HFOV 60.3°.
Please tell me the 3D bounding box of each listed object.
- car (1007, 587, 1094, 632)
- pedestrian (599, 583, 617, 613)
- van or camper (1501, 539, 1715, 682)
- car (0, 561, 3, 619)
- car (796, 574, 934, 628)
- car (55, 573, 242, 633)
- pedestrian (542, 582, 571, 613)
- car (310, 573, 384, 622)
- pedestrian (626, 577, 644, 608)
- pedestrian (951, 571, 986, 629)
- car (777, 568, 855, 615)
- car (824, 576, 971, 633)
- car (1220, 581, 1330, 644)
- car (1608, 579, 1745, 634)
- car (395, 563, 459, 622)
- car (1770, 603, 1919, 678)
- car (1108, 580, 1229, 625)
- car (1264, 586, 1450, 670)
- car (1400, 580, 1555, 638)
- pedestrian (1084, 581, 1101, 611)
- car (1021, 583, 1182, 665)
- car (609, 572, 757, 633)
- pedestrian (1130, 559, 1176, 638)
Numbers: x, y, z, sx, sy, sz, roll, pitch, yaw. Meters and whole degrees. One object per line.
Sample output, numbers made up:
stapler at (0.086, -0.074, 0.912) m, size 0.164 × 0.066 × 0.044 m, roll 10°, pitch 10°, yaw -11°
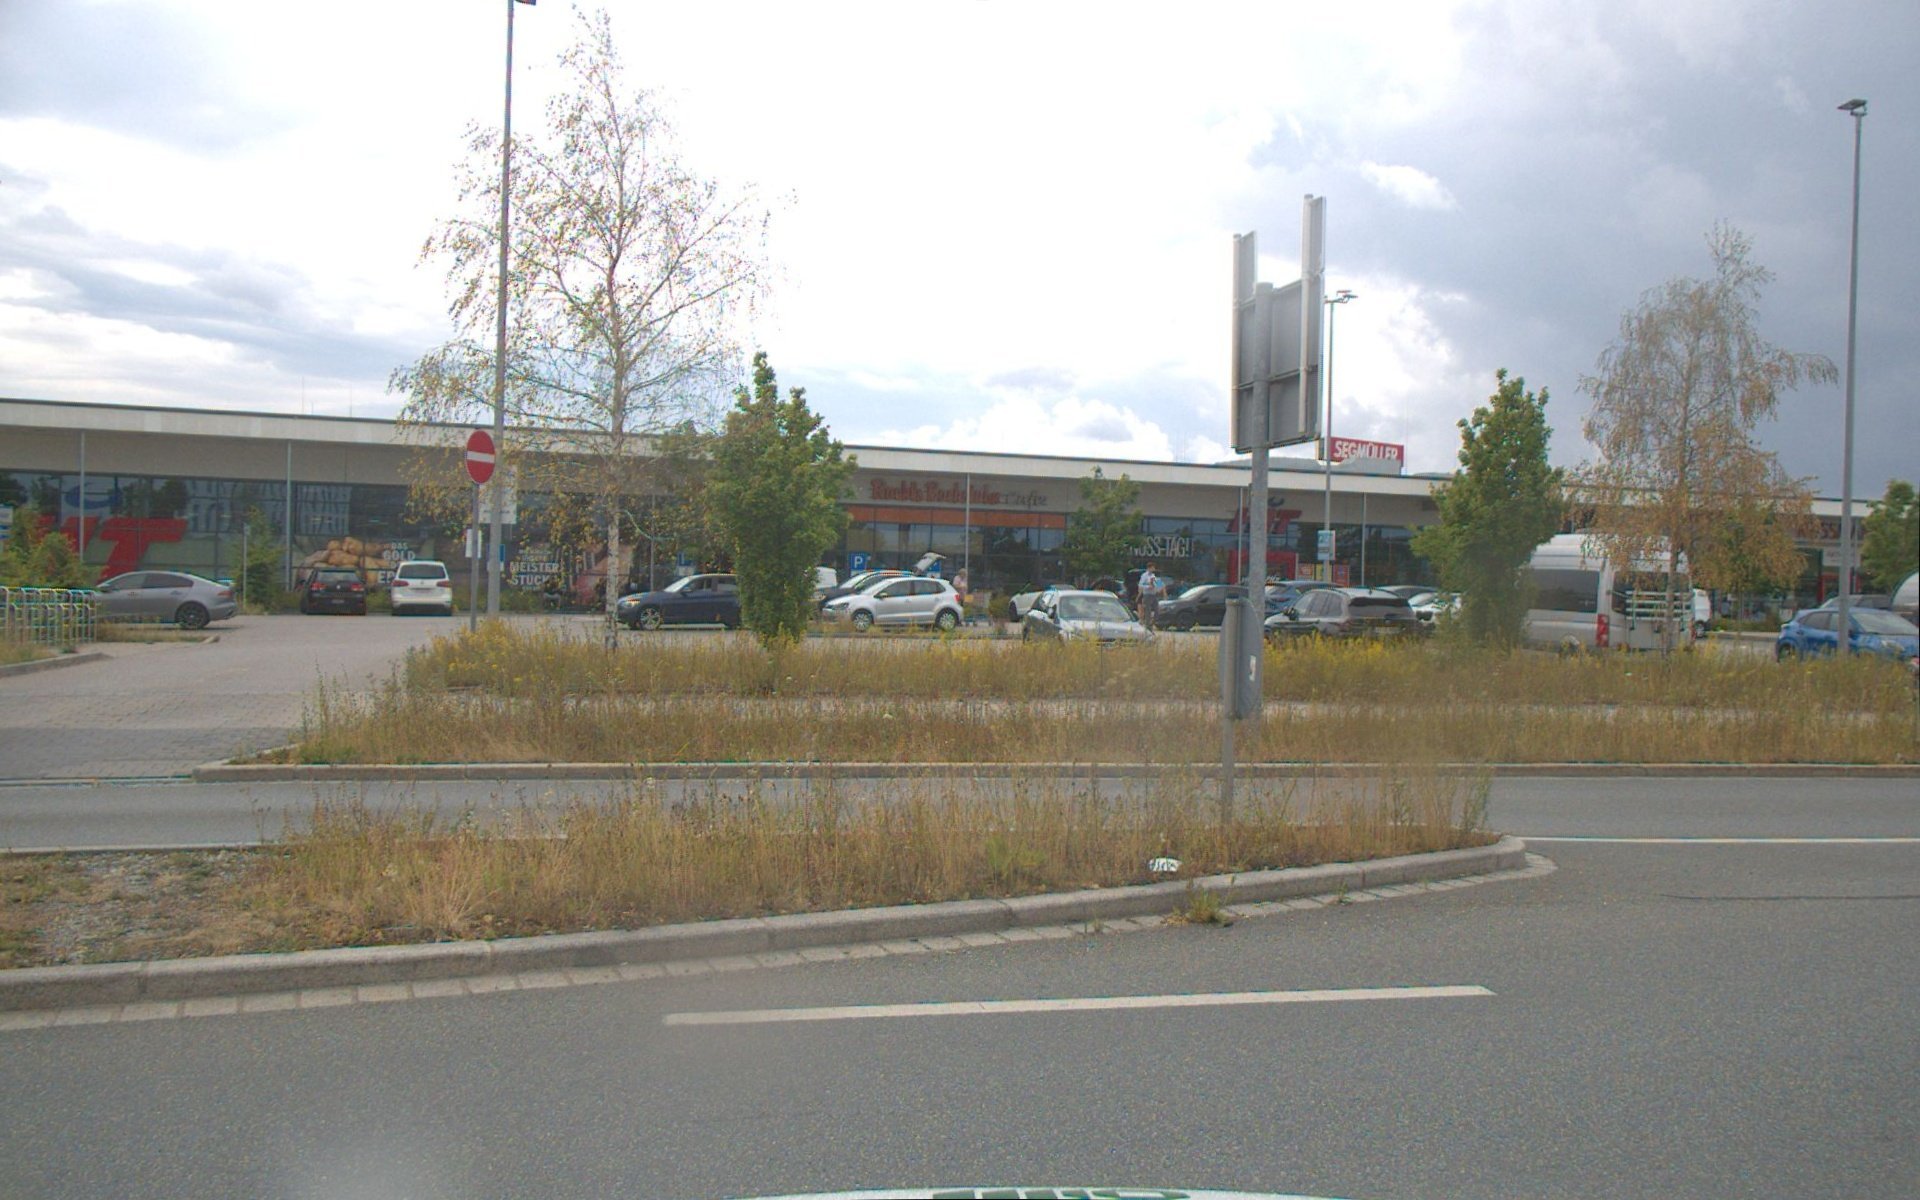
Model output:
car at (3.298, 0.322, 61.075) m, size 1.962 × 1.534 × 3.982 m, roll 1°, pitch 1°, yaw -17°
pedestrian at (-13.615, -0.078, 63.974) m, size 0.568 × 1.143 × 0.558 m, roll 1°, pitch 1°, yaw -23°
van or camper at (12.332, 0.184, 31.795) m, size 2.239 × 2.536 × 3.995 m, roll 1°, pitch 0°, yaw -6°
car at (-28.363, -0.323, 43.824) m, size 4.941 × 1.585 × 1.986 m, roll 1°, pitch 0°, yaw -24°
car at (-2.750, 0.017, 47.907) m, size 3.690 × 1.479 × 1.659 m, roll 1°, pitch 1°, yaw -19°
car at (-19.835, 0.071, 40.622) m, size 3.931 × 1.375 × 1.987 m, roll 1°, pitch 0°, yaw -22°
pedestrian at (-15.542, -0.097, 63.759) m, size 0.956 × 1.174 × 1.126 m, roll 1°, pitch 1°, yaw -21°
car at (-19.386, -0.098, 52.453) m, size 1.876 × 1.469 × 3.982 m, roll 1°, pitch 1°, yaw -16°
pedestrian at (-12.459, -0.293, 63.429) m, size 0.568 × 1.143 × 0.558 m, roll 1°, pitch 1°, yaw -23°
pedestrian at (0.241, 0.007, 48.518) m, size 0.807 × 1.660 × 0.896 m, roll 1°, pitch 0°, yaw -14°
car at (-5.100, -0.320, 58.003) m, size 1.962 × 1.534 × 3.982 m, roll 1°, pitch 1°, yaw -17°
car at (-1.701, 0.116, 45.144) m, size 3.690 × 1.479 × 1.659 m, roll 1°, pitch 1°, yaw -19°
car at (8.983, 0.331, 47.497) m, size 1.781 × 1.682 × 3.990 m, roll 1°, pitch 1°, yaw -10°
car at (25.531, 0.244, 58.951) m, size 4.351 × 1.850 × 1.987 m, roll 1°, pitch 0°, yaw -22°
car at (-17.091, -0.267, 53.200) m, size 1.794 × 1.729 × 4.216 m, roll 1°, pitch 2°, yaw -16°
car at (18.650, 0.797, 33.884) m, size 1.769 × 1.408 × 4.145 m, roll 1°, pitch 0°, yaw -6°
car at (7.586, 0.088, 60.320) m, size 3.925 × 1.534 × 1.990 m, roll 1°, pitch 1°, yaw -18°
car at (7.549, 0.500, 31.875) m, size 1.953 × 1.476 × 4.139 m, roll 1°, pitch 0°, yaw -11°
car at (15.310, 0.257, 49.011) m, size 3.915 × 1.646 × 1.995 m, roll 1°, pitch 1°, yaw -11°
pedestrian at (5.533, -0.165, 69.060) m, size 0.551 × 1.222 × 0.525 m, roll 1°, pitch 1°, yaw -19°
car at (2.576, 0.415, 31.078) m, size 1.953 × 1.408 × 4.139 m, roll 1°, pitch 0°, yaw -11°
car at (-7.187, 0.064, 42.865) m, size 3.554 × 1.479 × 1.658 m, roll 1°, pitch 1°, yaw -20°
pedestrian at (5.135, -0.049, 44.010) m, size 0.982 × 2.049 × 0.865 m, roll 1°, pitch 1°, yaw -11°
